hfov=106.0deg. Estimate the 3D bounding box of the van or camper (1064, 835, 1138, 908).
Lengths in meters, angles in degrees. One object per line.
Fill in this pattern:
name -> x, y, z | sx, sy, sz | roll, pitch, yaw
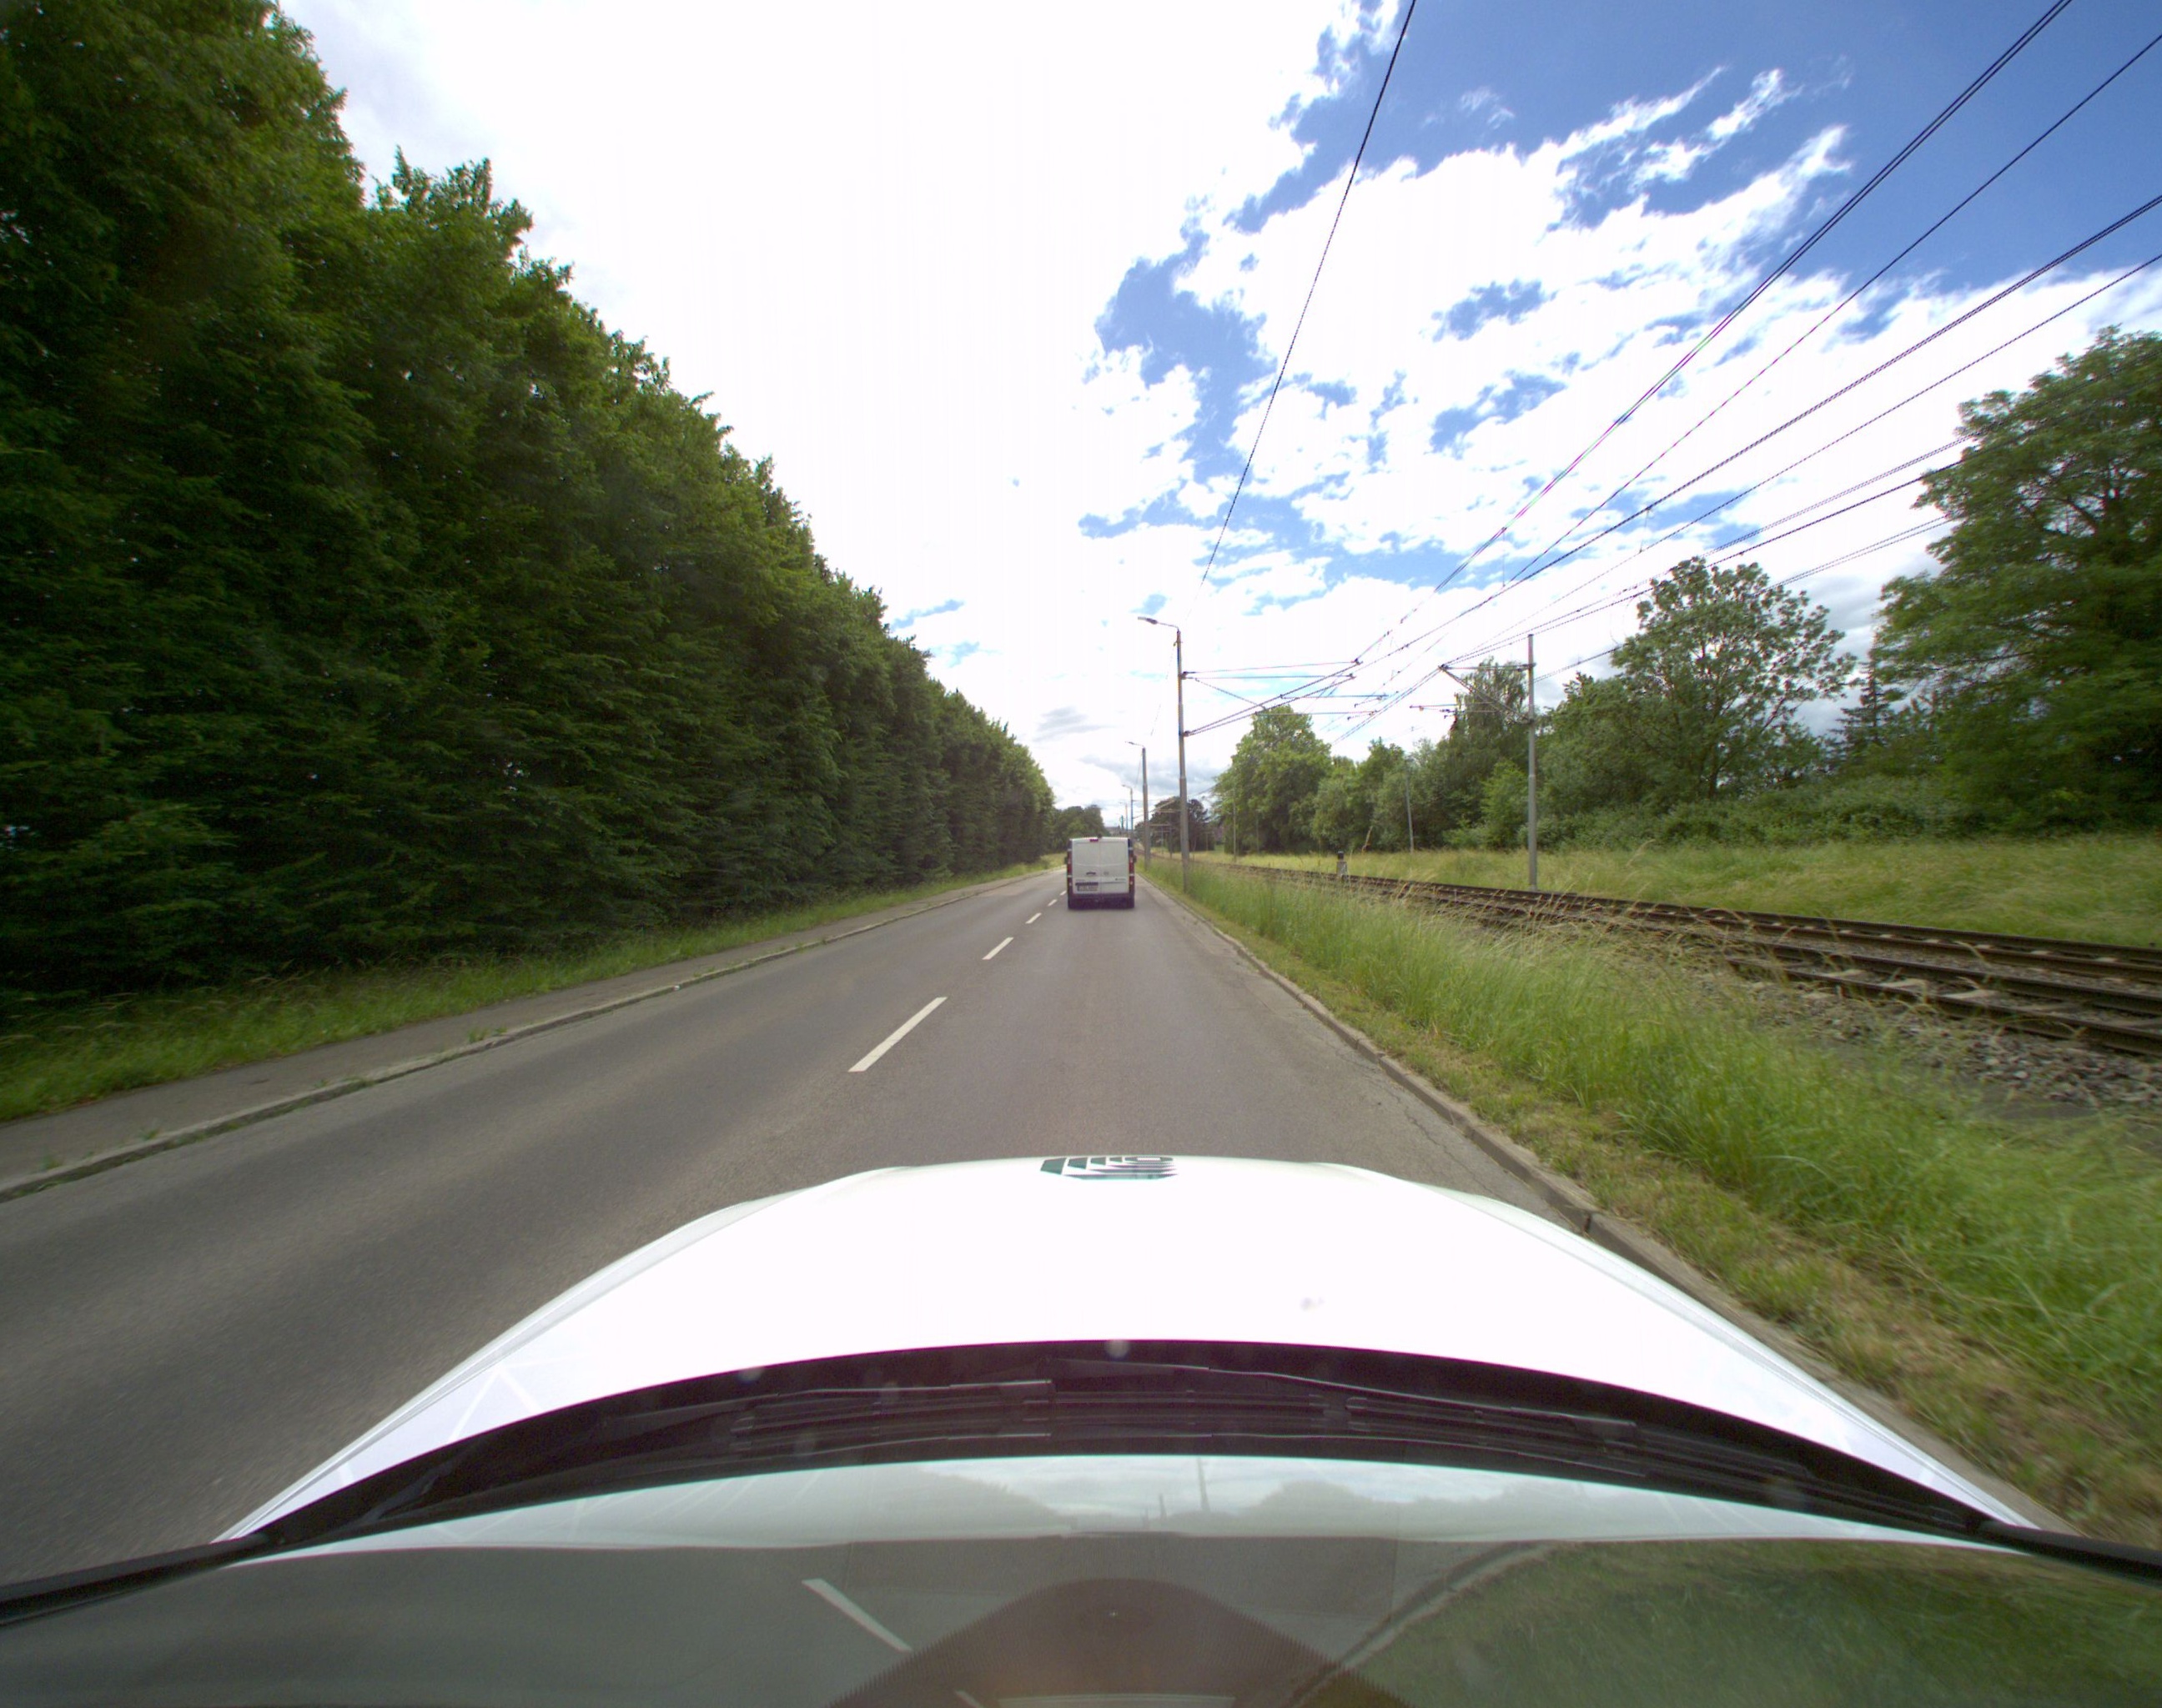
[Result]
van or camper -> 0.610, 0.437, 23.569 | 1.934, 1.897, 4.287 | -1, 1, 2
